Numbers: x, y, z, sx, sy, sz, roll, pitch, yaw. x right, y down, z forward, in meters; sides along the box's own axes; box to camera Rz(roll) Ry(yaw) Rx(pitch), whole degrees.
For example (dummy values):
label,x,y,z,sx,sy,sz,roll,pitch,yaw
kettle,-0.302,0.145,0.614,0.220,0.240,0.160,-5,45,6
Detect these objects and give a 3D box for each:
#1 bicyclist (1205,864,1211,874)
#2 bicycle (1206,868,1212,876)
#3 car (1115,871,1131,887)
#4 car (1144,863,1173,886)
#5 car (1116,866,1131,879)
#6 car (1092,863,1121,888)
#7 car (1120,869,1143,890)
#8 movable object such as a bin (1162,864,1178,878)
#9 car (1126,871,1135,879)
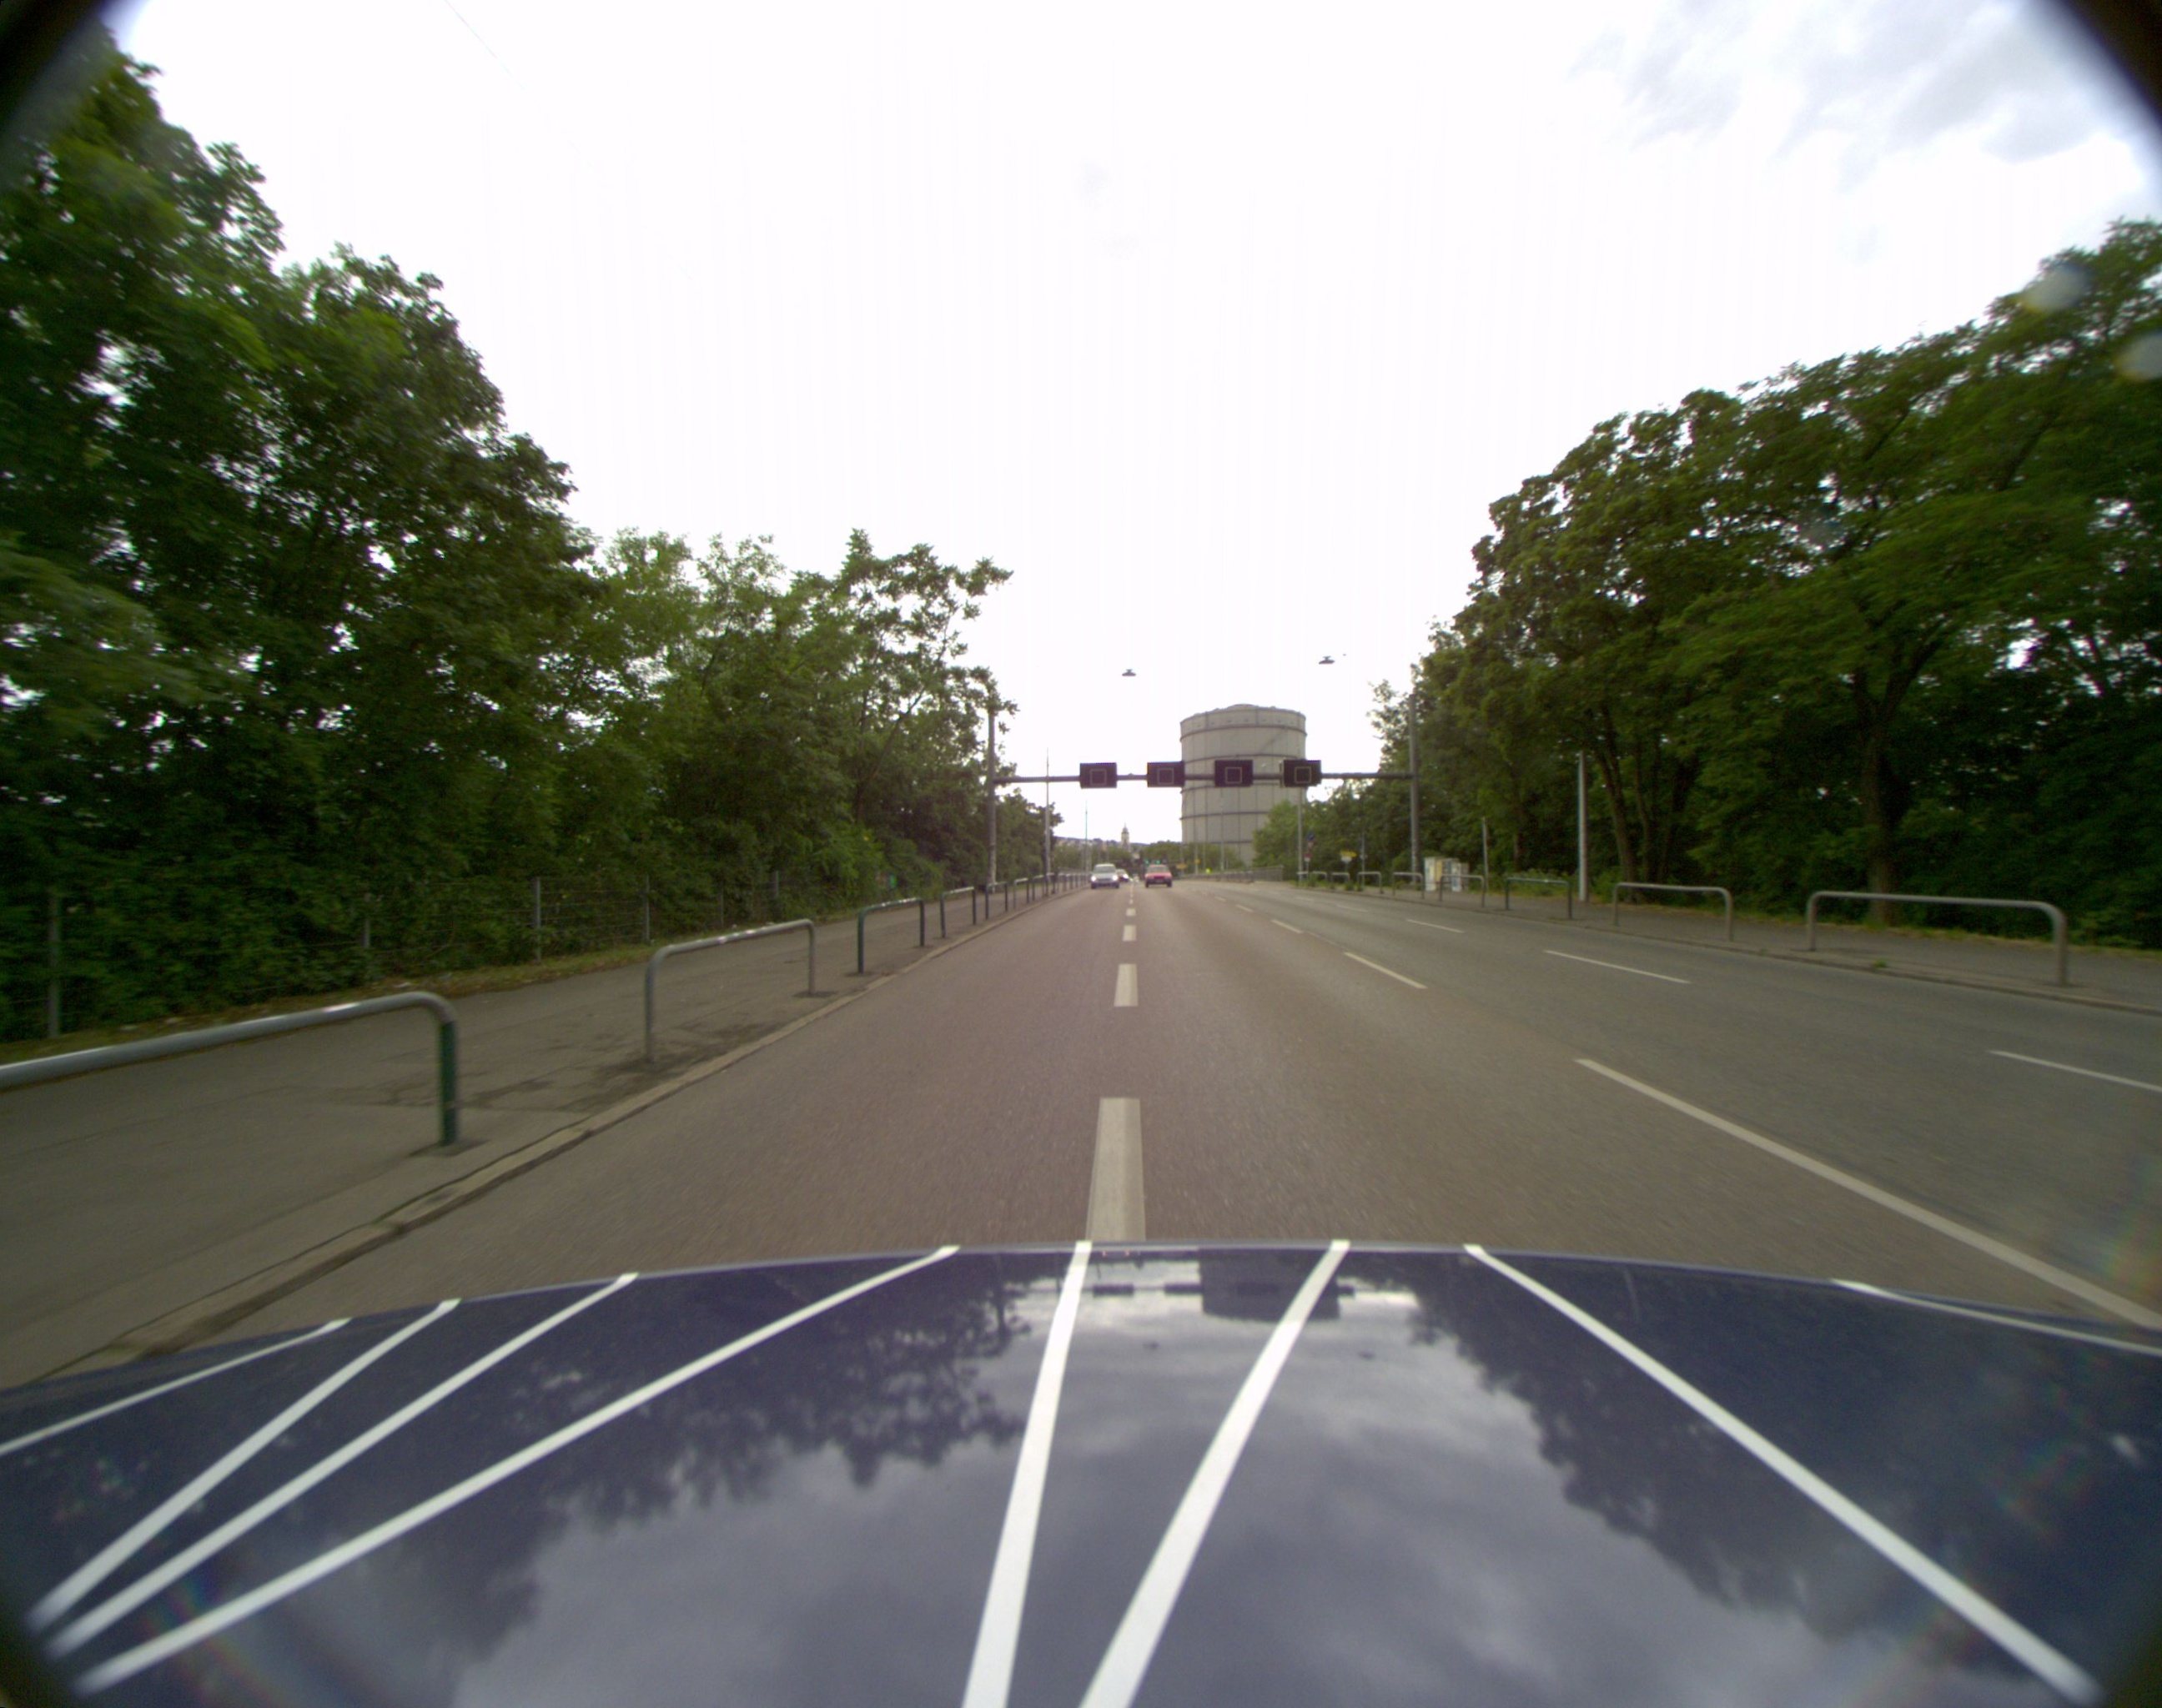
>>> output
label,x,y,z,sx,sy,sz,roll,pitch,yaw
bicyclist,19.048,2.268,113.703,0.627,1.467,0.671,-8,-2,6
bicycle,19.120,2.652,113.723,0.636,1.057,1.984,-8,-2,7
car,4.794,2.824,87.434,1.775,1.695,4.001,-2,-1,3
car,5.030,1.309,49.582,1.695,1.434,4.002,1,-1,4
car,5.887,2.581,104.670,1.998,1.775,4.002,-1,-1,5
car,1.707,1.398,49.882,1.770,1.564,4.002,0,0,4
car,4.146,2.105,62.740,1.840,1.595,3.754,0,0,4
movable object such as a bin,21.306,4.008,182.541,3.463,3.302,9.363,1,-1,4
car,12.648,5.377,195.463,1.997,1.792,4.002,-2,0,7
